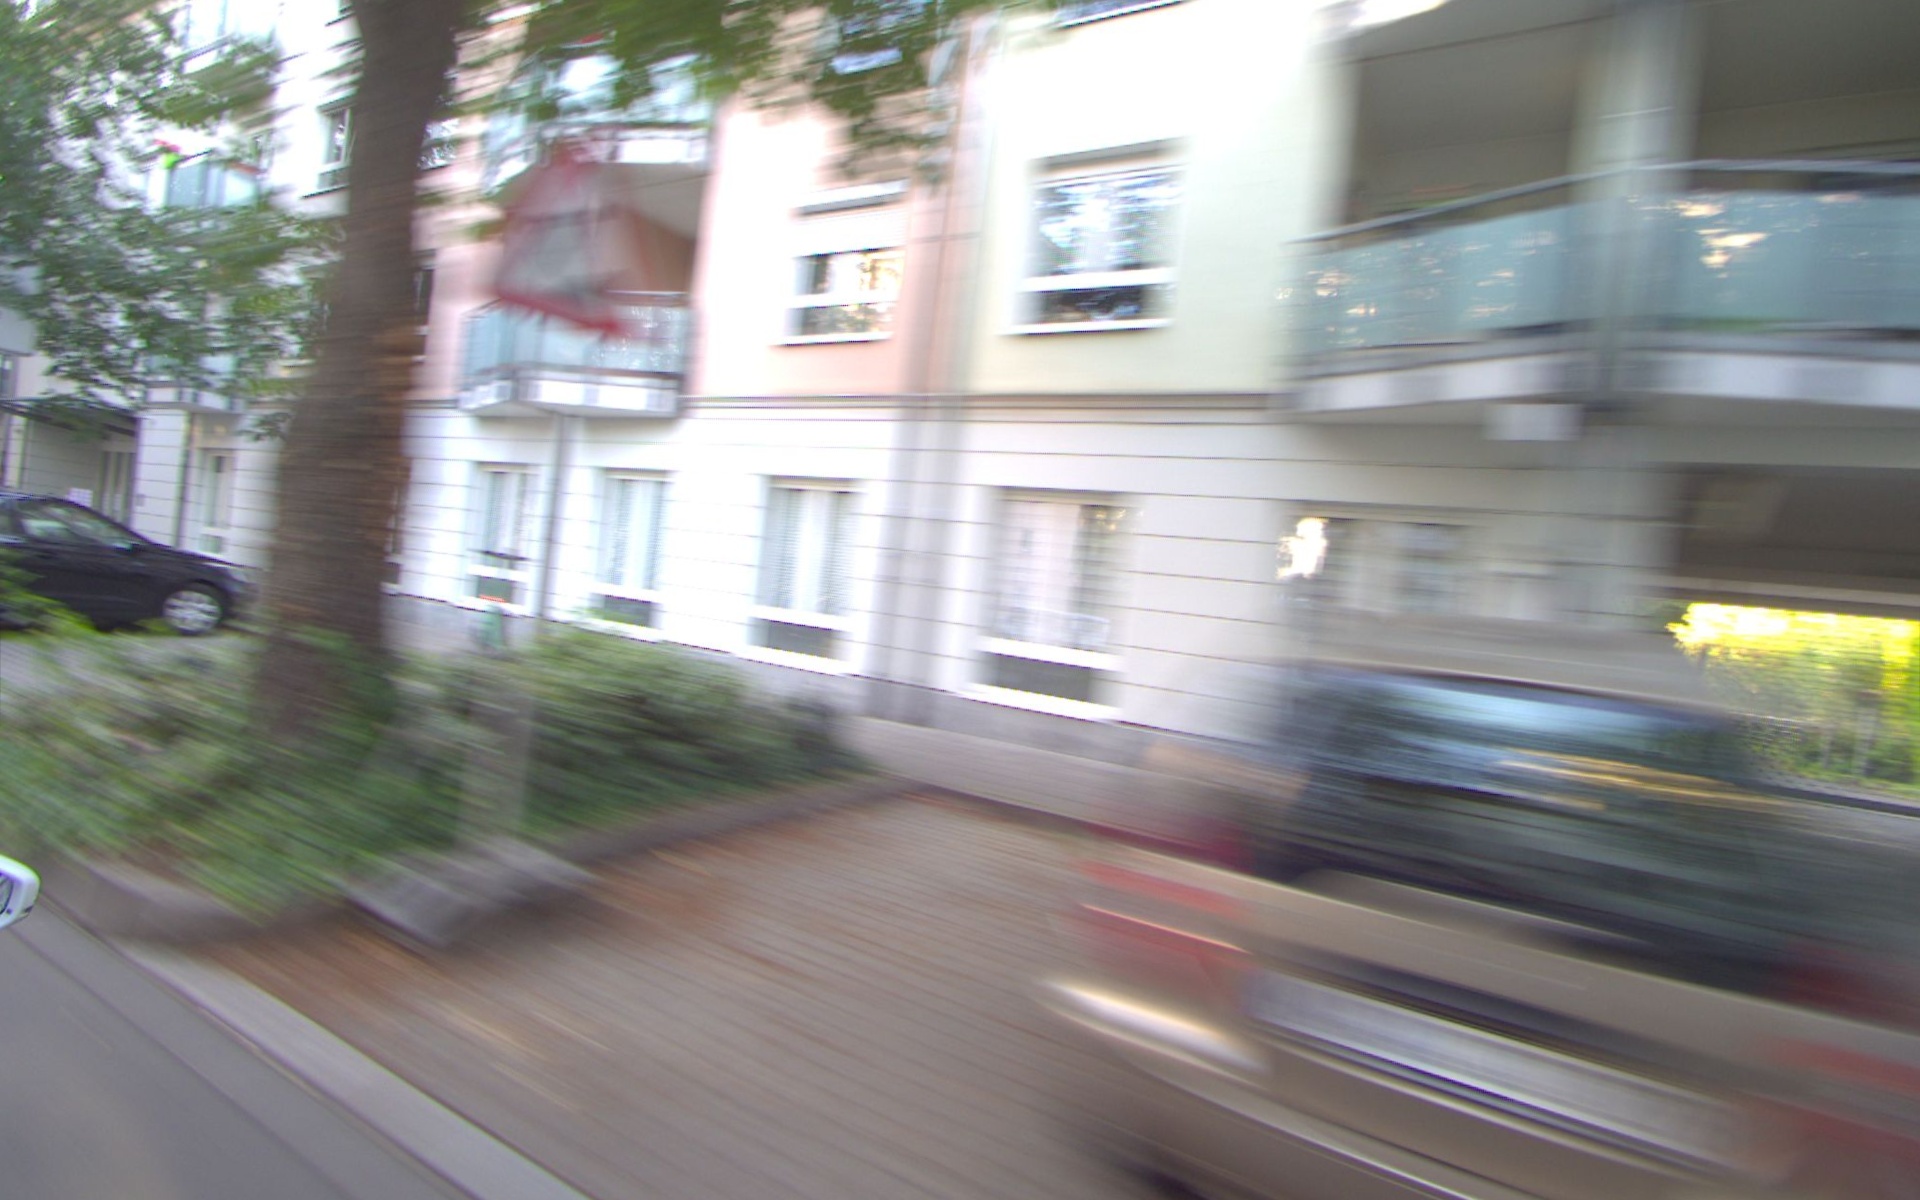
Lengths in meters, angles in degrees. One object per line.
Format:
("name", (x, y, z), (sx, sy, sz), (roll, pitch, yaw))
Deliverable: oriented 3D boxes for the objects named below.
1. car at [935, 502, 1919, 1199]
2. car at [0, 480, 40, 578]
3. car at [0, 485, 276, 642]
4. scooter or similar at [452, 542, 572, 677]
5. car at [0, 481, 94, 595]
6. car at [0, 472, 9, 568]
("car", (1.811, 0.788, 3.326), (1.894, 1.689, 3.863), (7, 2, 32))
("car", (-16.840, -1.258, 15.235), (1.699, 1.546, 3.985), (7, 2, 33))
("car", (-9.848, -0.429, 10.535), (1.880, 1.494, 3.990), (7, 3, 28))
("scooter or similar", (-4.658, 0.085, 10.433), (1.232, 1.256, 0.399), (7, 0, 32))
("car", (-14.845, -0.999, 13.477), (1.743, 1.572, 4.573), (7, 2, 31))
("car", (-18.981, -1.570, 16.581), (1.861, 1.726, 4.390), (6, 2, 24))
